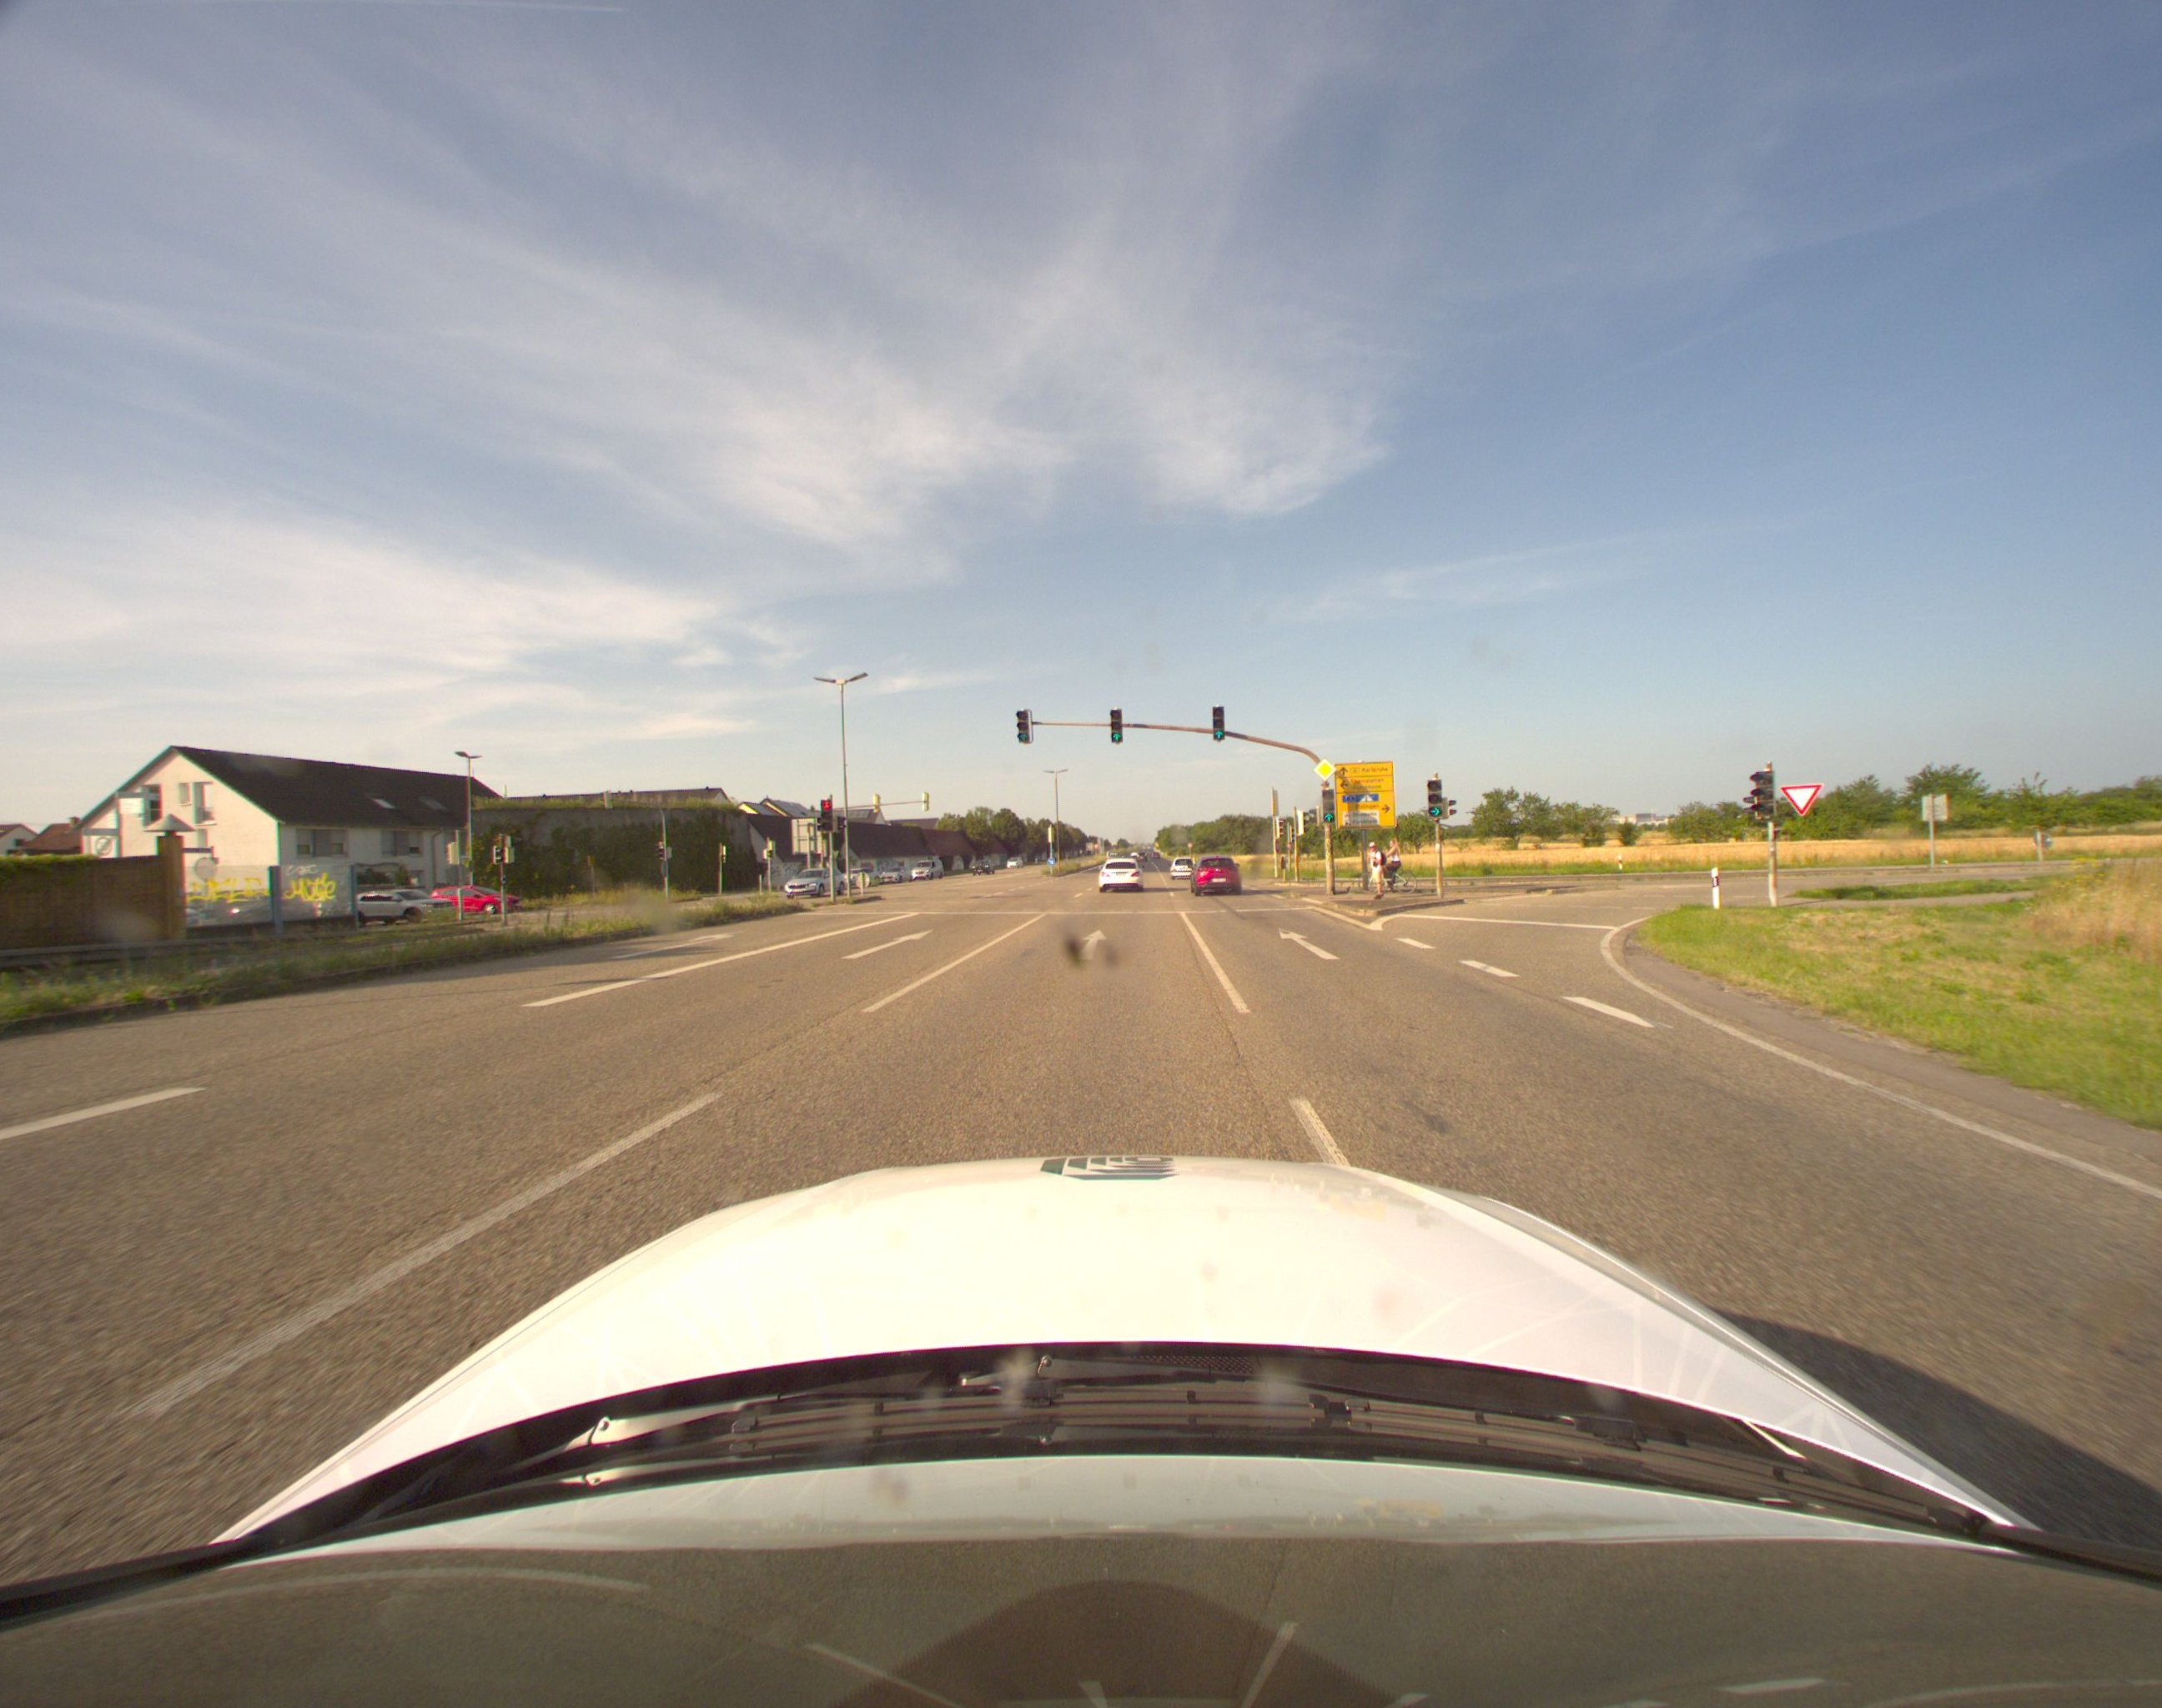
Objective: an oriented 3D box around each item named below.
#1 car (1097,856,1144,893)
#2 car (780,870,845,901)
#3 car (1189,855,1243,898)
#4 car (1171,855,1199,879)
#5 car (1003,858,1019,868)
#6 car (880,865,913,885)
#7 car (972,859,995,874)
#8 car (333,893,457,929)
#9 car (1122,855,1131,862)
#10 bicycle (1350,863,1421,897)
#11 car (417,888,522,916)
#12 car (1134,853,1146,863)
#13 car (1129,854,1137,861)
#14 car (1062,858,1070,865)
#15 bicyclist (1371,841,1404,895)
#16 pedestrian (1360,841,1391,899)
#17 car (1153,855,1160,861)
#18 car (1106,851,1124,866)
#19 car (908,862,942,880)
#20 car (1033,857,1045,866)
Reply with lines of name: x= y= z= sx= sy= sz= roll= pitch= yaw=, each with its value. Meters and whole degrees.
car: x=1.791 y=0.862 z=35.563 sx=1.885 sy=1.509 sz=4.005 roll=-1 pitch=0 yaw=5
car: x=-13.727 y=1.564 z=41.956 sx=1.777 sy=1.437 sz=4.359 roll=0 pitch=0 yaw=2
car: x=5.155 y=0.828 z=31.471 sx=1.745 sy=1.517 sz=4.006 roll=-2 pitch=0 yaw=6
car: x=6.741 y=0.813 z=53.171 sx=1.721 sy=1.530 sz=3.479 roll=0 pitch=0 yaw=6
car: x=-10.639 y=1.380 z=124.258 sx=1.986 sy=1.497 sz=4.002 roll=0 pitch=0 yaw=2
car: x=-15.898 y=1.785 z=70.498 sx=1.882 sy=1.618 sz=3.858 roll=0 pitch=0 yaw=2
car: x=-10.340 y=1.325 z=86.513 sx=1.816 sy=1.508 sz=3.799 roll=0 pitch=0 yaw=2
car: x=-30.397 y=2.515 z=36.163 sx=3.973 sy=1.458 sz=1.760 roll=0 pitch=0 yaw=0
car: x=9.304 y=0.861 z=167.682 sx=1.709 sy=1.492 sz=3.590 roll=0 pitch=0 yaw=6
bicycle: x=10.029 y=0.860 z=26.919 sx=2.084 sy=1.089 sz=0.809 roll=0 pitch=0 yaw=8
car: x=-30.475 y=2.382 z=40.684 sx=3.982 sy=1.241 sz=1.408 roll=0 pitch=0 yaw=-7
car: x=10.080 y=0.742 z=138.932 sx=1.829 sy=1.684 sz=4.009 roll=0 pitch=0 yaw=8
car: x=12.662 y=0.929 z=197.654 sx=1.769 sy=1.665 sz=3.665 roll=0 pitch=0 yaw=2
car: x=-3.729 y=1.874 z=202.876 sx=1.746 sy=1.530 sz=4.004 roll=0 pitch=0 yaw=4
bicyclist: x=10.114 y=0.451 z=26.894 sx=0.844 sy=1.756 sz=0.800 roll=0 pitch=0 yaw=6
pedestrian: x=9.000 y=0.472 z=24.921 sx=0.706 sy=1.751 sz=0.864 roll=0 pitch=0 yaw=7
car: x=15.825 y=0.877 z=169.990 sx=1.432 sy=1.284 sz=2.919 roll=0 pitch=0 yaw=6
car: x=4.412 y=0.590 z=104.013 sx=2.015 sy=1.891 sz=4.967 roll=0 pitch=0 yaw=6
car: x=-14.699 y=1.577 z=76.910 sx=1.988 sy=1.687 sz=4.580 roll=0 pitch=0 yaw=4
car: x=-8.074 y=1.404 z=155.748 sx=1.986 sy=1.794 sz=4.002 roll=0 pitch=0 yaw=2
